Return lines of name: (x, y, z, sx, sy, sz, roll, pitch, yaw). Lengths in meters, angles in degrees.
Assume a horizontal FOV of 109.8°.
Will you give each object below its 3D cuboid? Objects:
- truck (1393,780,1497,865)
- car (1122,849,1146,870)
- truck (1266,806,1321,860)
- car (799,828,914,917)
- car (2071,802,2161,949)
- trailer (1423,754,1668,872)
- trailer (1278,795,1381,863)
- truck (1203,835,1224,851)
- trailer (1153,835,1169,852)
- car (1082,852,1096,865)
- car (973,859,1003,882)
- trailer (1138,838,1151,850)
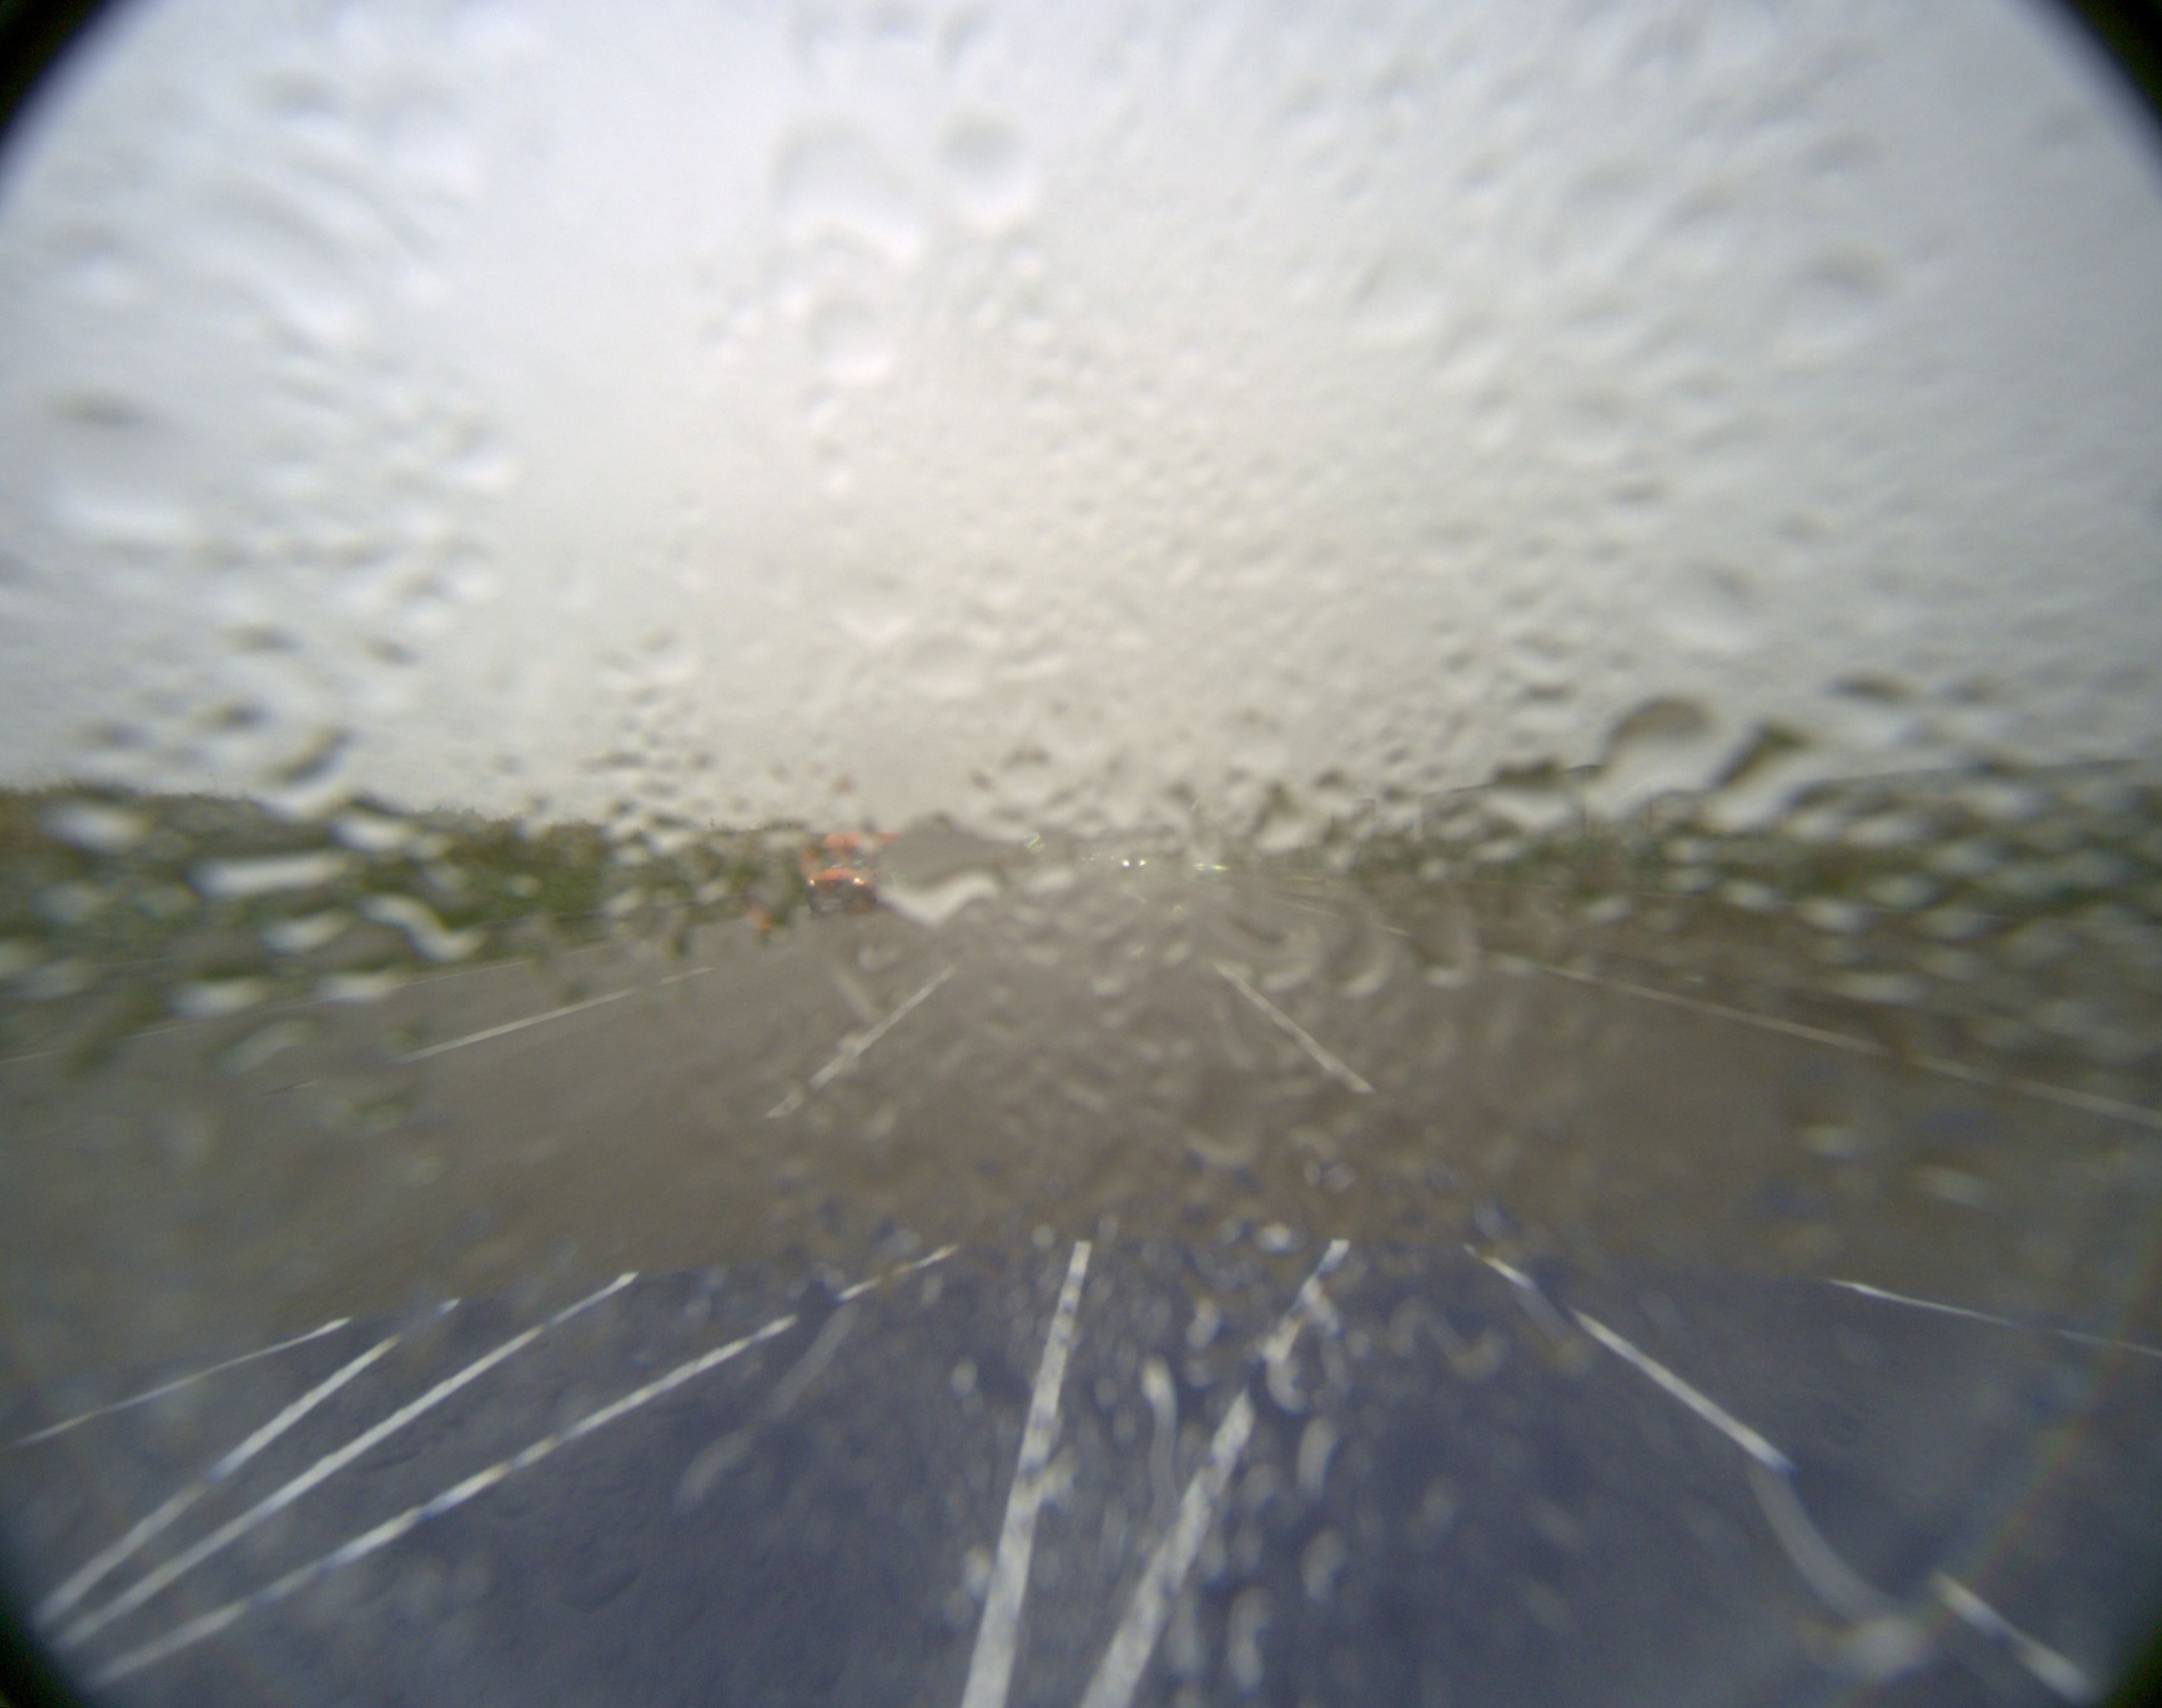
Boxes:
truck: (19.967, -1.631, 42.042, 2.766, 4.270, 5.839, -3, 1, 0)
car: (4.349, 0.410, 62.582, 1.701, 1.543, 3.733, -2, 1, 1)
truck: (16.271, -1.540, 58.532, 2.766, 3.825, 4.819, -3, 1, 1)
car: (-7.644, 0.544, 26.755, 2.066, 2.600, 6.884, -4, 1, -2)
car: (11.812, 0.186, 6.368, 1.780, 1.477, 3.999, -3, 0, 0)
trailer: (20.074, -1.556, 34.575, 2.825, 4.226, 13.236, -3, 0, -1)
trailer: (16.136, -1.492, 50.661, 2.825, 3.830, 12.405, -3, 0, 1)
truck: (26.027, -2.225, 149.144, 2.826, 2.892, 8.280, -2, 1, 2)
trailer: (20.005, -2.633, 190.922, 2.442, 3.916, 13.491, -3, 0, 0)
car: (1.078, 0.566, 100.285, 1.701, 1.543, 3.732, -3, 1, 0)
car: (-6.866, 1.182, 56.457, 1.914, 1.477, 4.475, -2, 1, -4)
trailer: (19.522, -3.037, 233.129, 3.265, 3.436, 9.442, -2, 1, 1)
